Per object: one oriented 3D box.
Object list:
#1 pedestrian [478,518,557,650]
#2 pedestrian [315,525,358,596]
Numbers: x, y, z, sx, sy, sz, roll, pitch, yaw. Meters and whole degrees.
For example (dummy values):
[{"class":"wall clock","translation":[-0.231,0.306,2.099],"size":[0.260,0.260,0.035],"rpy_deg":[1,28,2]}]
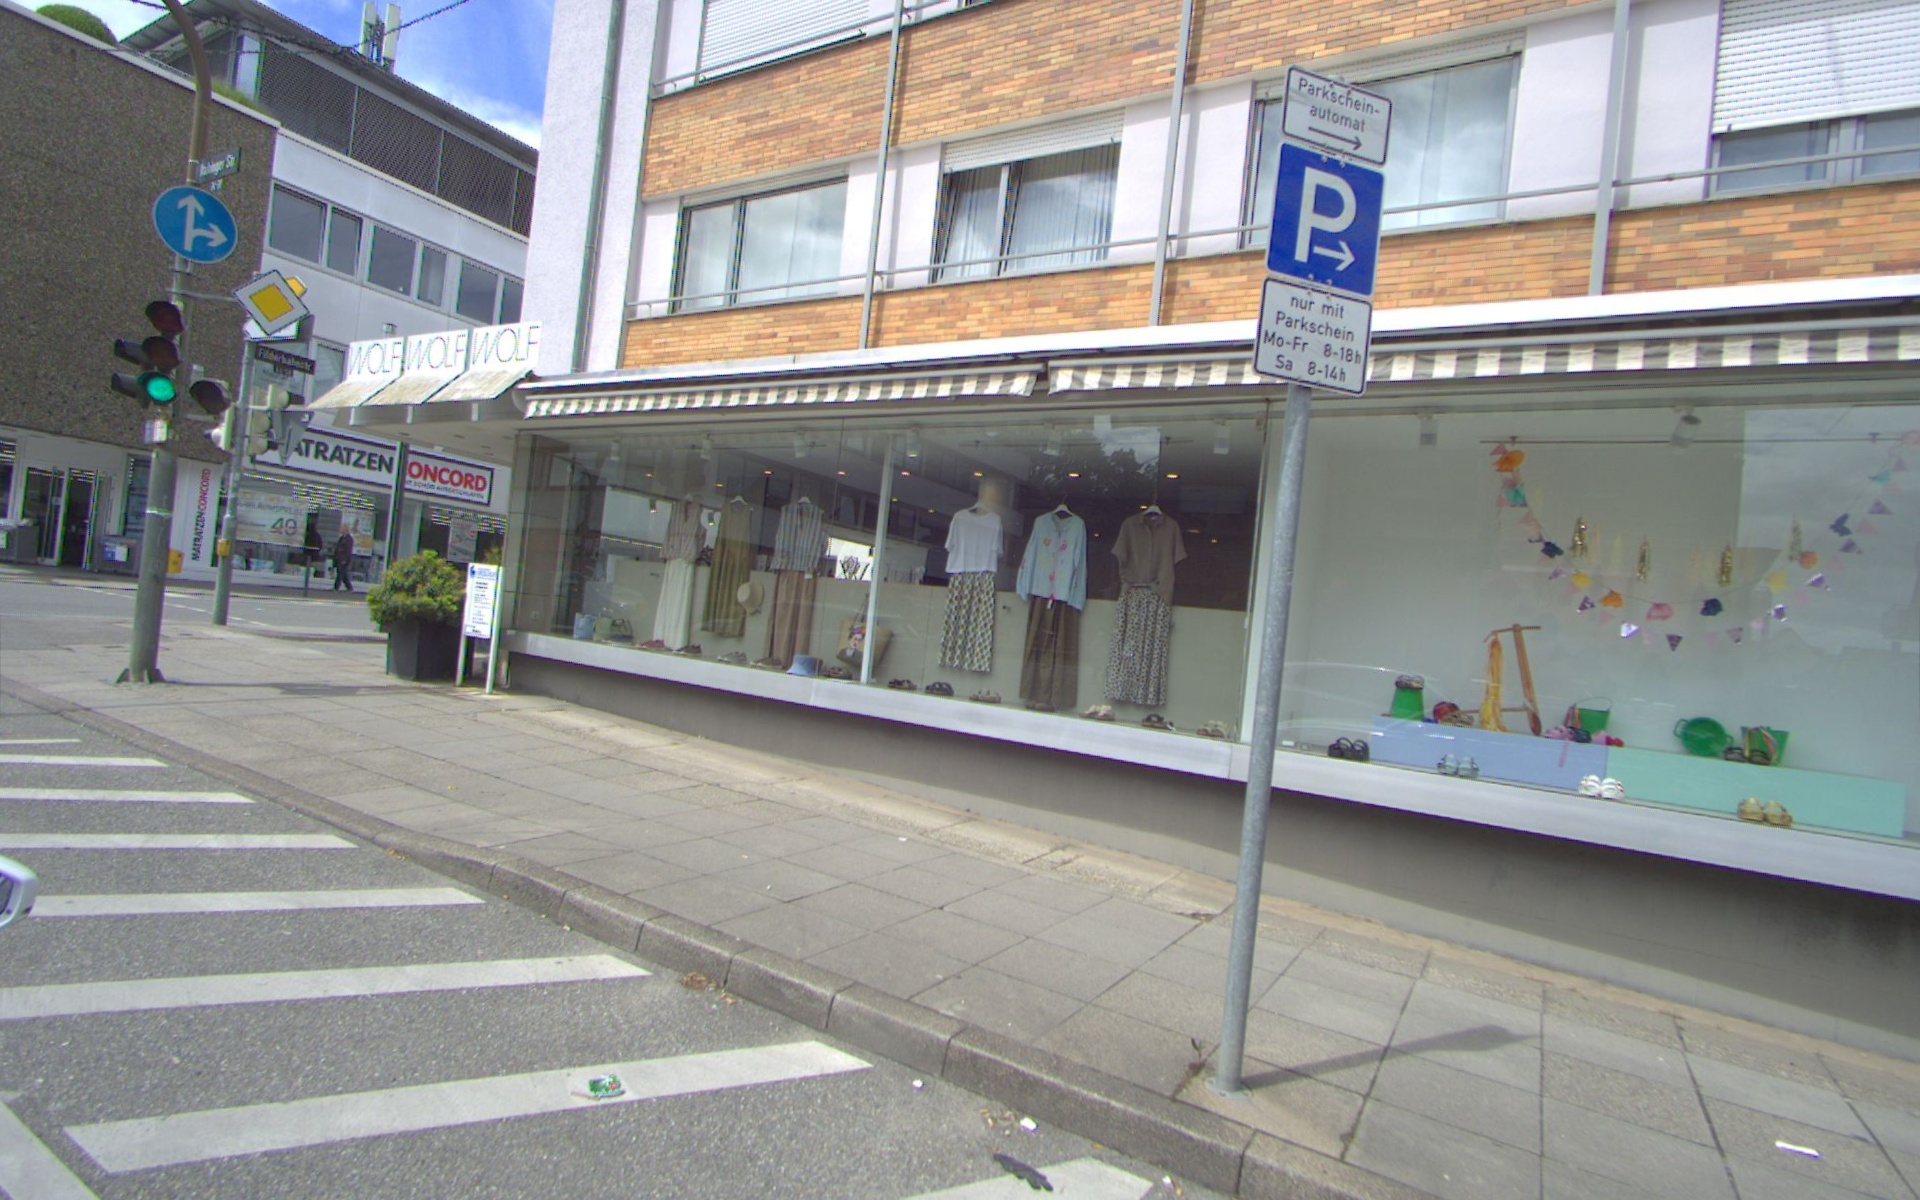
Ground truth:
[{"class":"pedestrian","translation":[-6.481,-0.238,14.770],"size":[0.762,1.839,0.612],"rpy_deg":[6,3,0]},{"class":"pedestrian","translation":[-15.822,-1.001,25.534],"size":[0.608,1.728,0.580],"rpy_deg":[6,2,0]}]
